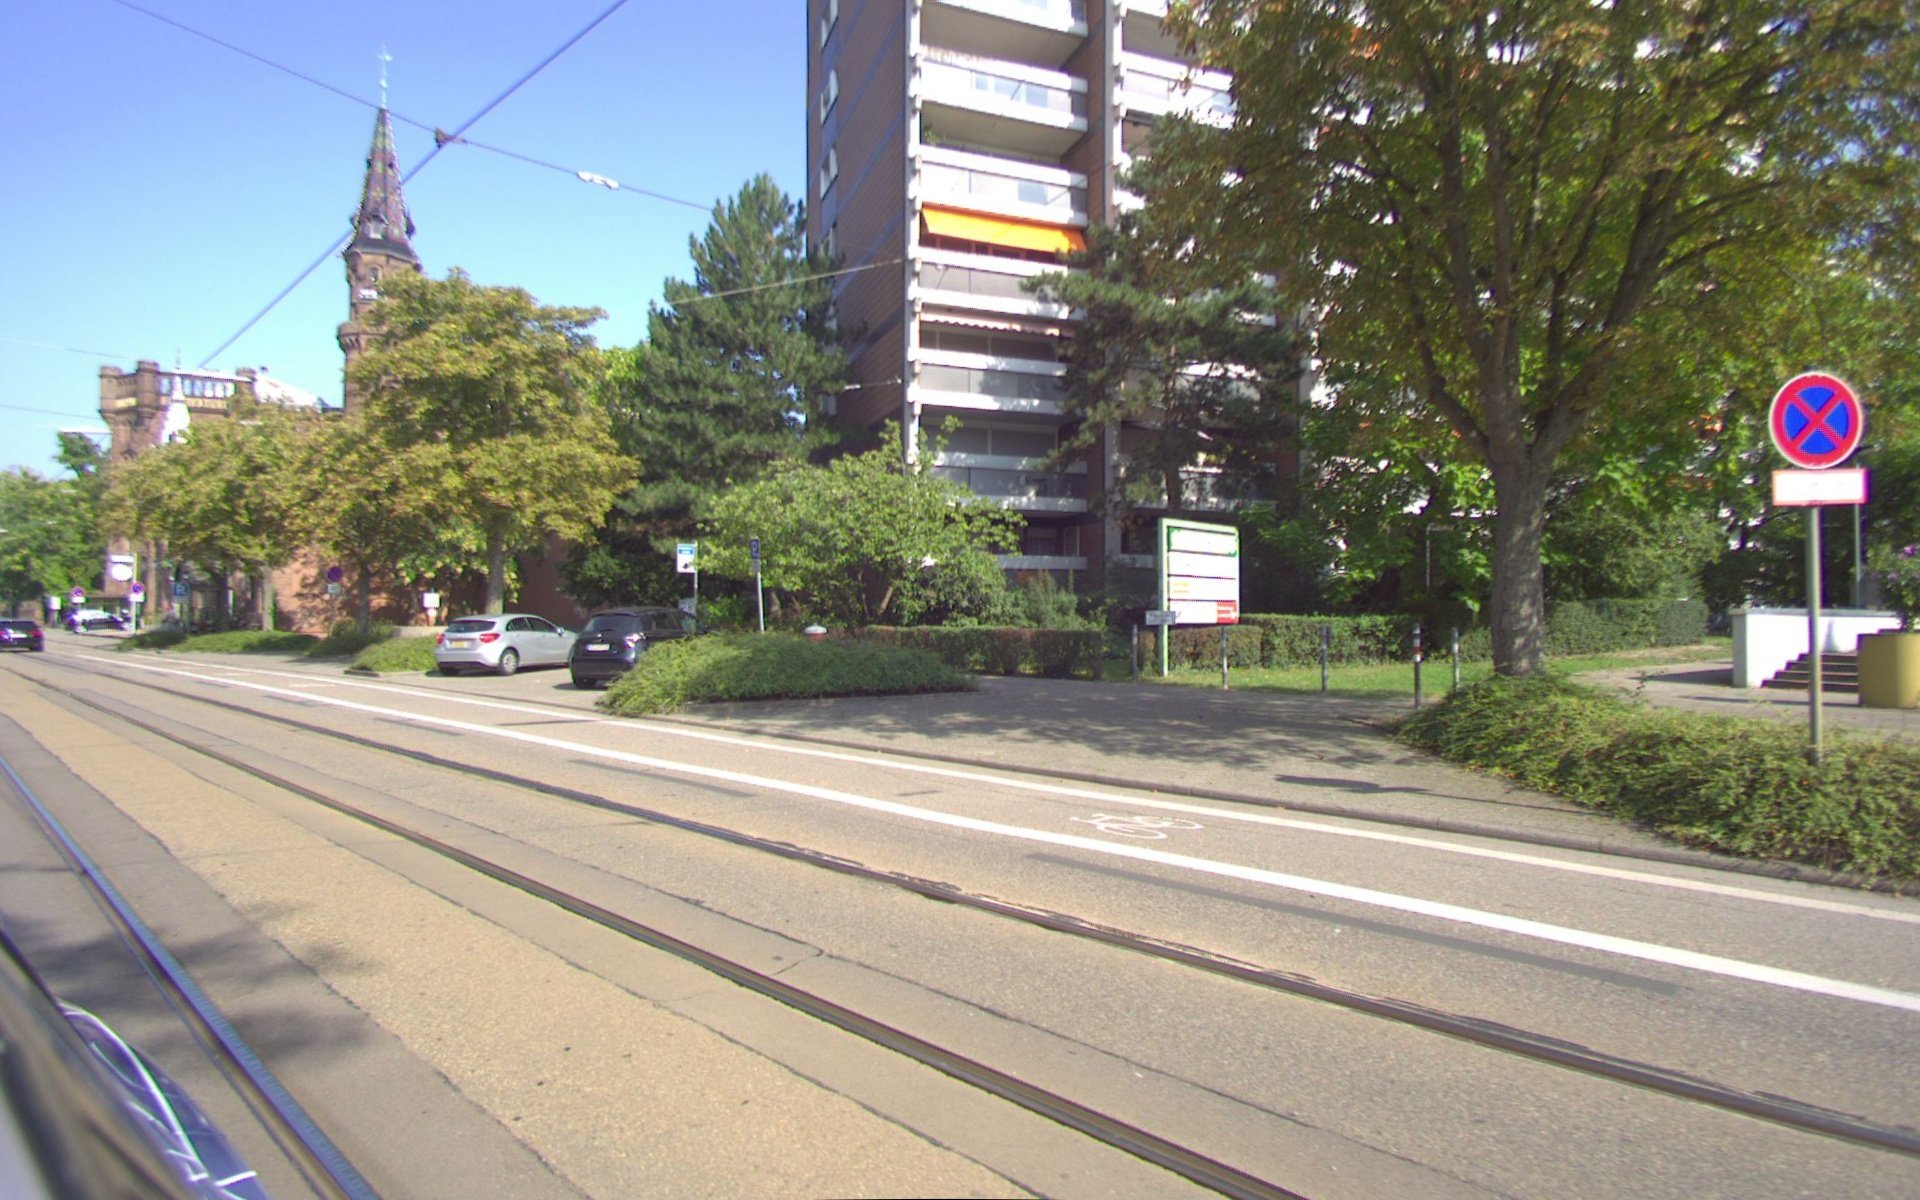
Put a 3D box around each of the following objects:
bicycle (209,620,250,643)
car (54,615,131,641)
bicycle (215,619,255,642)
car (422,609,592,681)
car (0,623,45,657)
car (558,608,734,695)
[{"bbox_3d":[-39.472,1.670,54.714,0.418,1.082,1.797,-1,3,20],"label":"bicycle"},{"bbox_3d":[-67.703,2.131,79.039,1.957,1.657,4.349,-1,3,43],"label":"car"},{"bbox_3d":[-39.043,1.623,54.543,0.418,1.082,1.797,-1,3,20],"label":"bicycle"},{"bbox_3d":[-11.035,1.057,24.958,1.771,1.490,3.984,-2,1,13],"label":"car"},{"bbox_3d":[-40.779,1.677,43.404,4.511,1.386,1.809,-1,-2,42],"label":"car"},{"bbox_3d":[-6.222,0.963,20.467,1.608,1.527,3.625,-1,0,17],"label":"car"}]
